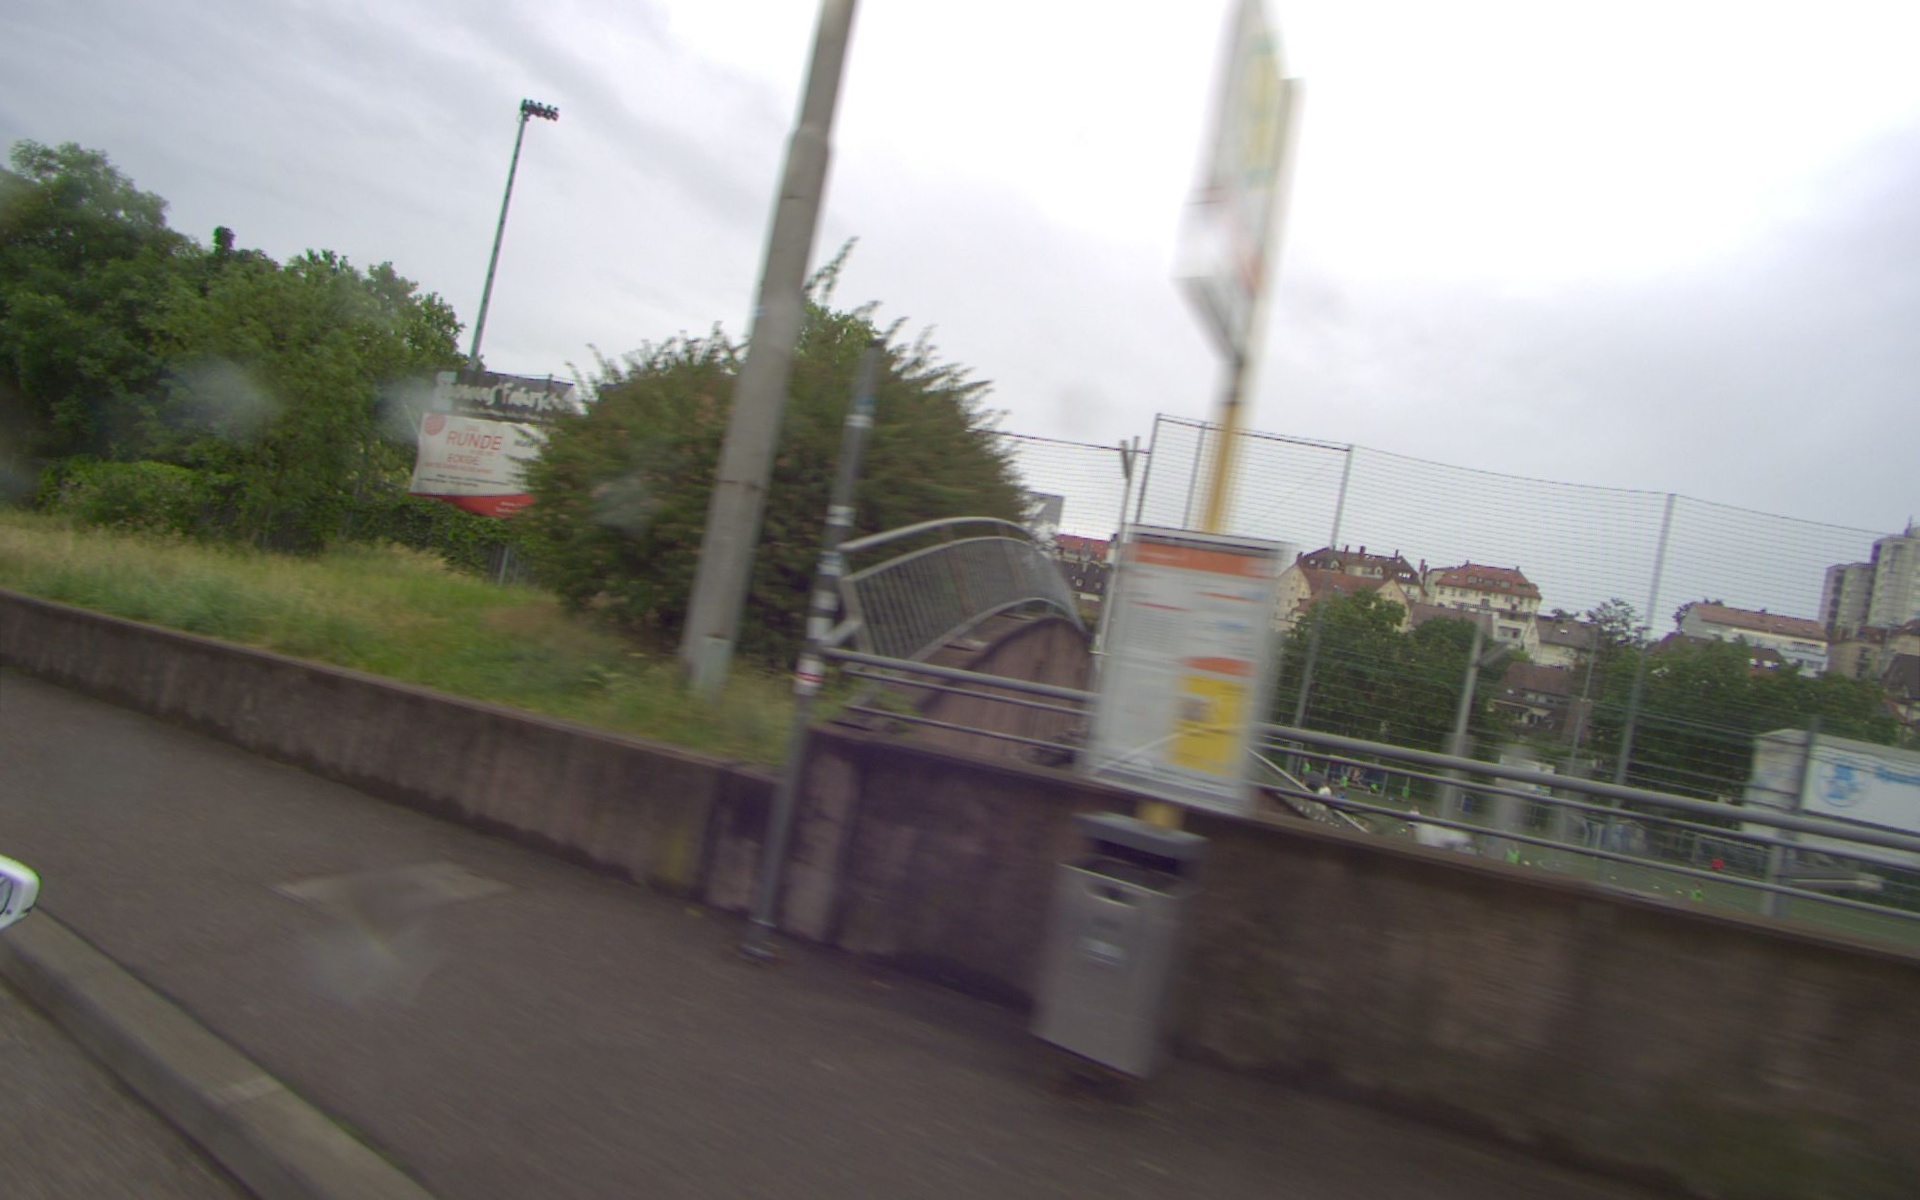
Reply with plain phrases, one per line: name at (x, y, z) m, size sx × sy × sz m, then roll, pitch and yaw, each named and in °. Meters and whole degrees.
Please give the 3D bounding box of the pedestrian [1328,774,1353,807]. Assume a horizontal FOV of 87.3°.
pedestrian at (23.982, 12.021, 63.413) m, size 1.019 × 1.847 × 0.969 m, roll 5°, pitch -9°, yaw 39°

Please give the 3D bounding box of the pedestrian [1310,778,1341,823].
pedestrian at (16.808, 9.229, 46.276) m, size 0.953 × 1.847 × 1.036 m, roll 6°, pitch -8°, yaw 31°

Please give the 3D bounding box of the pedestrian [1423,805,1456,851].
pedestrian at (21.406, 10.173, 44.901) m, size 0.954 × 1.847 × 1.035 m, roll 5°, pitch -8°, yaw 36°

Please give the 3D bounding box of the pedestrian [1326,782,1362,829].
pedestrian at (17.317, 9.284, 45.398) m, size 1.030 × 1.847 × 0.959 m, roll 16°, pitch -9°, yaw -41°

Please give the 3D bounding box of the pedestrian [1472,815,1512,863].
pedestrian at (23.899, 10.746, 45.213) m, size 1.020 × 1.847 × 0.968 m, roll 12°, pitch -7°, yaw -17°

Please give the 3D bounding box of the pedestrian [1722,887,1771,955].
pedestrian at (25.075, 10.212, 32.107) m, size 1.018 × 1.847 × 0.971 m, roll 6°, pitch -8°, yaw 33°

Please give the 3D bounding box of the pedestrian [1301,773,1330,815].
pedestrian at (17.359, 9.468, 49.148) m, size 1.015 × 1.847 × 0.973 m, roll 8°, pitch -7°, yaw 17°

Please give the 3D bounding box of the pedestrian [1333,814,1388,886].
pedestrian at (12.091, 7.540, 30.398) m, size 0.954 × 1.847 × 1.035 m, roll 11°, pitch -7°, yaw -9°

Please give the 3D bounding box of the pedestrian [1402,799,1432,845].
pedestrian at (20.708, 10.064, 45.598) m, size 0.953 × 1.847 × 1.036 m, roll 6°, pitch -8°, yaw 31°

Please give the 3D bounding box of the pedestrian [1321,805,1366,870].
pedestrian at (12.547, 7.759, 32.942) m, size 0.951 × 1.847 × 1.039 m, roll 9°, pitch -7°, yaw 11°

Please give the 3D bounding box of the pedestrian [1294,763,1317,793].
pedestrian at (24.231, 12.470, 70.507) m, size 1.019 × 1.847 × 0.969 m, roll 5°, pitch -9°, yaw 39°

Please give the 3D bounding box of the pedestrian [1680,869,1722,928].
pedestrian at (26.691, 10.725, 36.232) m, size 1.018 × 1.847 × 0.971 m, roll 6°, pitch -8°, yaw 33°

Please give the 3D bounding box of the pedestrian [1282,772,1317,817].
pedestrian at (15.754, 9.015, 46.653) m, size 0.954 × 1.847 × 1.036 m, roll 11°, pitch -7°, yaw -8°

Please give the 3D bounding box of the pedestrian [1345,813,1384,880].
pedestrian at (12.723, 7.737, 31.663) m, size 0.848 × 1.847 × 1.038 m, roll 8°, pitch -7°, yaw 18°

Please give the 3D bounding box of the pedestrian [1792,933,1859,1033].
pedestrian at (18.798, 8.310, 21.858) m, size 0.746 × 1.847 × 0.827 m, roll 14°, pitch -8°, yaw -31°

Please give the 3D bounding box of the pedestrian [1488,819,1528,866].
pedestrian at (24.824, 10.966, 45.578) m, size 1.020 × 1.847 × 0.968 m, roll 12°, pitch -7°, yaw -17°
